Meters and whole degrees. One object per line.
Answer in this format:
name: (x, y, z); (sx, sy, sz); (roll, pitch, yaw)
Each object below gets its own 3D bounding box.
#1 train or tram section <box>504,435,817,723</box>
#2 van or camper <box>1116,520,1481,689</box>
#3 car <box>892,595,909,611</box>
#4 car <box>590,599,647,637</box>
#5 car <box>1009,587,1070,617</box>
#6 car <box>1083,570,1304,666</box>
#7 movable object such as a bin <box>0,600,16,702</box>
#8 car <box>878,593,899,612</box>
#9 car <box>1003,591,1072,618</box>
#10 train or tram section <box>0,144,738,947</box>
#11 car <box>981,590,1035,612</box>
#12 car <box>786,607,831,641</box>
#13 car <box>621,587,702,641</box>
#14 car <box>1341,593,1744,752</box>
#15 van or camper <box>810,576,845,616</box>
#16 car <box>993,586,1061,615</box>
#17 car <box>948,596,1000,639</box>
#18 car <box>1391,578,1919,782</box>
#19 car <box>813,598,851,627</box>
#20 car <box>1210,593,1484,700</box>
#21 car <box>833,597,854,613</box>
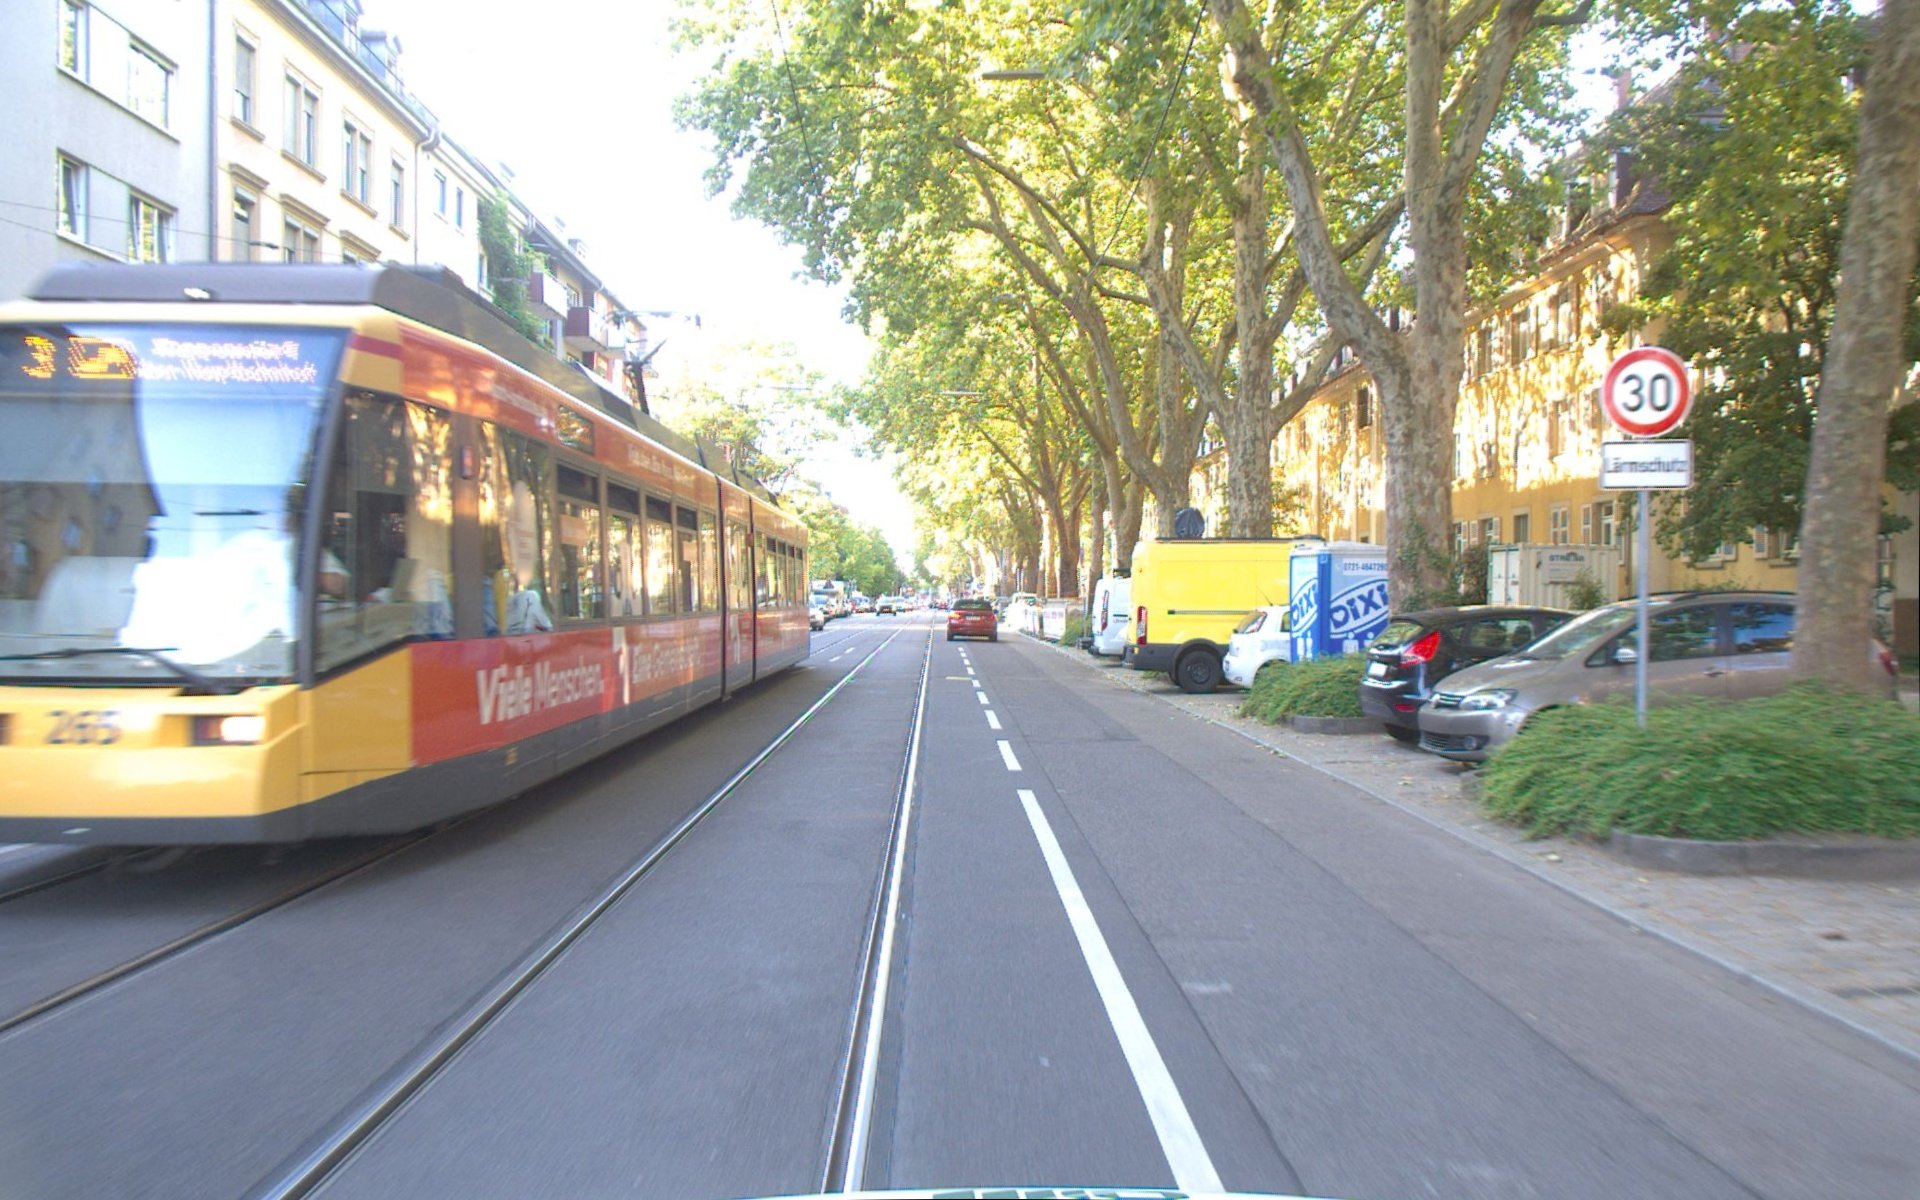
train or tram section: (-4.346, -0.295, 27.738); (2.849, 3.547, 14.195); (-1, 0, -1)
van or camper: (5.685, 0.090, 28.453); (5.803, 2.675, 2.270); (-1, -1, 1)
car: (-7.030, 0.360, 195.024); (1.853, 1.864, 4.894); (-1, 0, -1)
car: (-19.819, 1.037, 95.805); (1.971, 2.160, 4.677); (0, -1, -29)
car: (4.996, 0.113, 103.497); (3.764, 1.803, 1.917); (-1, 0, 3)
car: (5.298, 0.396, 38.033); (4.736, 2.048, 2.063); (-1, 0, -1)
movable object such as a bin: (-14.435, 0.746, 23.803); (1.036, 1.476, 1.210); (-1, 0, -5)
car: (-6.560, 0.197, 152.053); (1.816, 1.628, 4.462); (2, 0, -2)
car: (4.646, 0.266, 99.209); (4.006, 1.548, 1.916); (-1, -1, -2)
train or tram section: (-4.129, -0.270, 14.018); (2.849, 3.547, 13.367); (-1, 0, -1)
car: (4.007, 0.064, 138.241); (4.402, 1.630, 2.028); (-3, 0, 3)
car: (-6.936, 1.080, 76.074); (1.759, 1.471, 4.715); (1, 0, -2)
car: (-9.790, 0.455, 54.650); (1.913, 1.677, 4.880); (1, 0, -2)
car: (6.034, 0.711, 17.379); (3.581, 1.451, 1.736); (-2, 0, -5)
van or camper: (-10.906, -0.329, 136.493); (2.290, 3.094, 6.397); (2, 0, 0)
car: (4.800, 0.026, 118.988); (4.740, 1.997, 2.063); (-1, 0, -3)
car: (0.467, 0.588, 57.643); (1.756, 1.413, 4.236); (0, 0, 0)
car: (6.132, 0.665, 14.840); (3.994, 1.577, 1.830); (-2, 0, -2)
car: (-6.902, 0.676, 89.573); (1.759, 1.471, 4.052); (-2, 0, -1)
car: (5.920, 0.694, 25.636); (3.825, 1.515, 1.863); (-1, 0, 1)
car: (-11.227, 0.455, 159.697); (1.799, 1.494, 5.066); (2, 0, -3)
